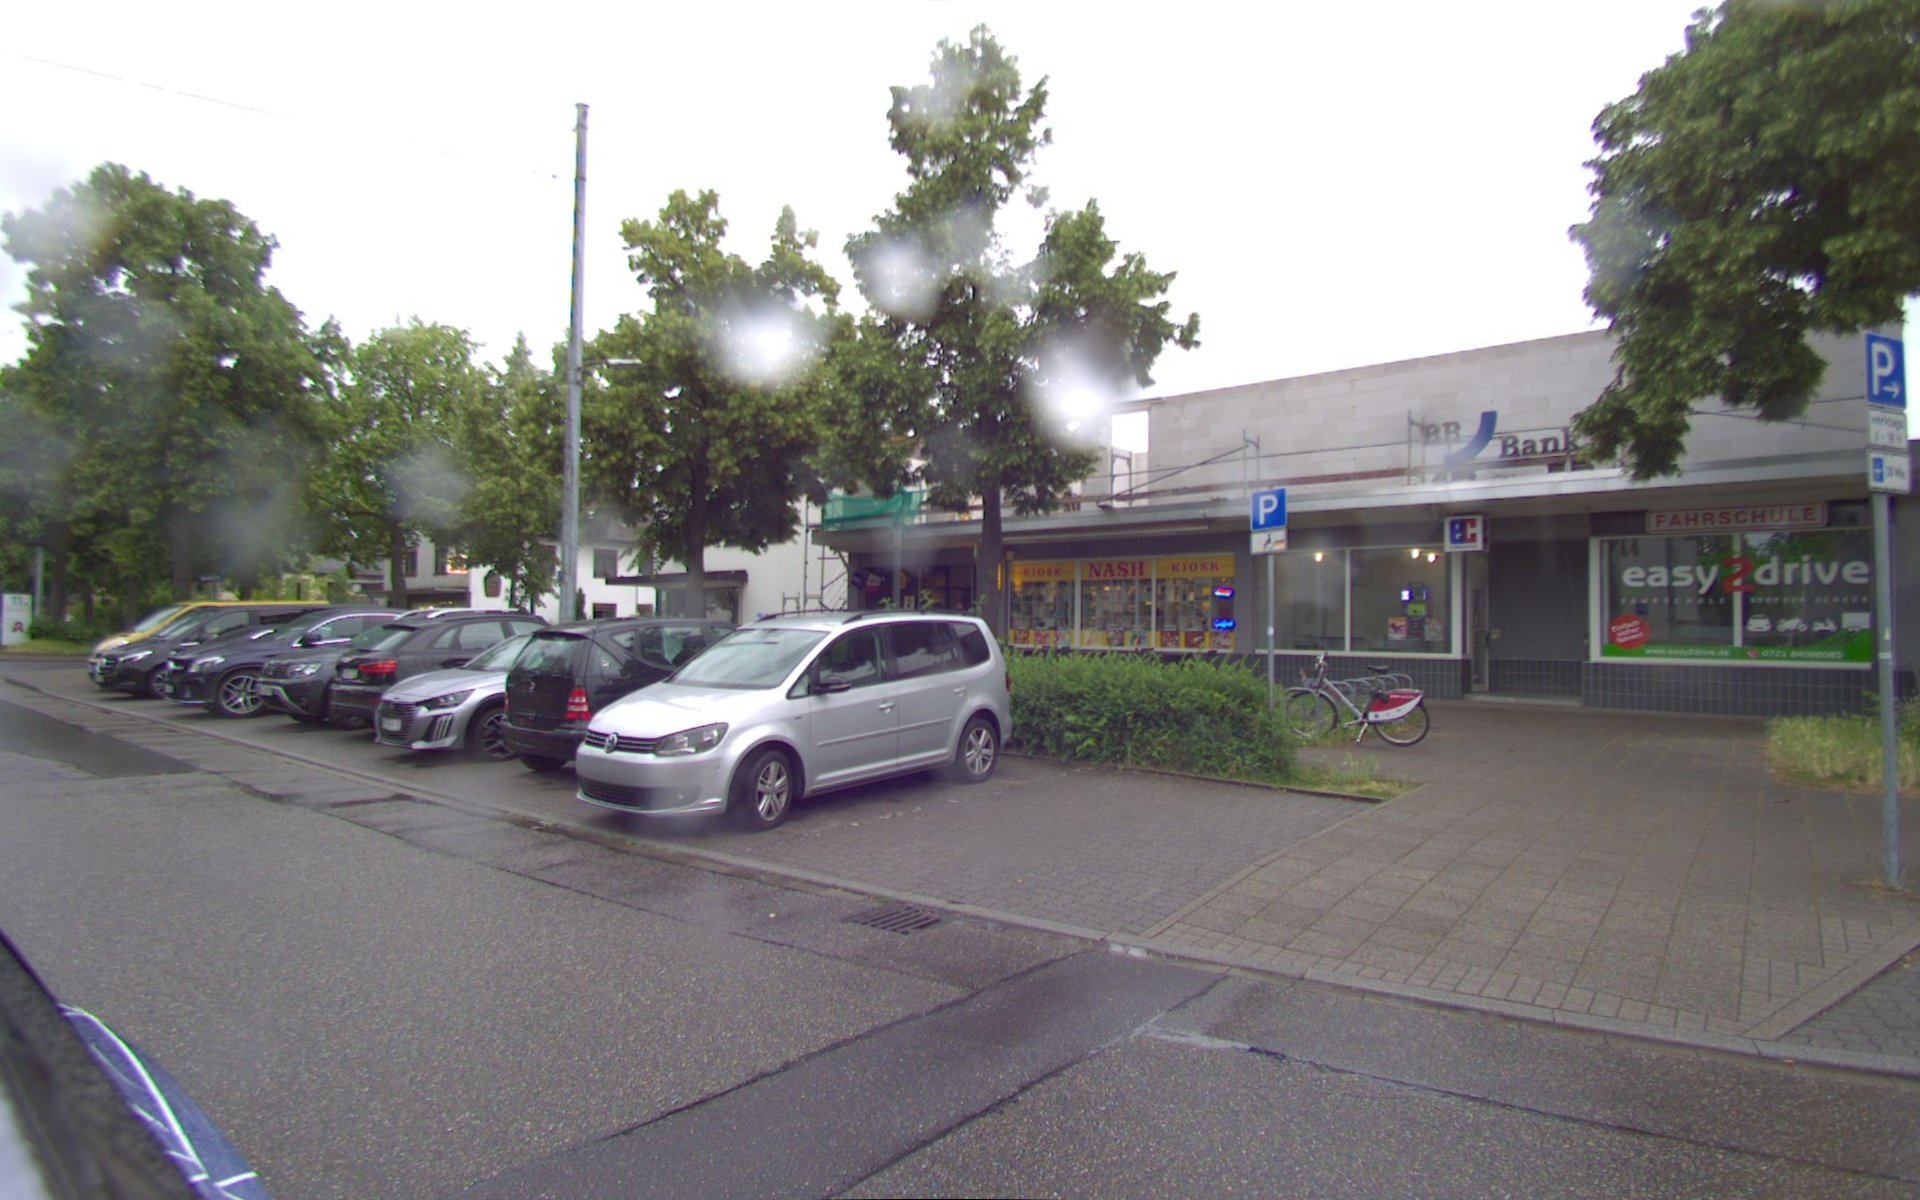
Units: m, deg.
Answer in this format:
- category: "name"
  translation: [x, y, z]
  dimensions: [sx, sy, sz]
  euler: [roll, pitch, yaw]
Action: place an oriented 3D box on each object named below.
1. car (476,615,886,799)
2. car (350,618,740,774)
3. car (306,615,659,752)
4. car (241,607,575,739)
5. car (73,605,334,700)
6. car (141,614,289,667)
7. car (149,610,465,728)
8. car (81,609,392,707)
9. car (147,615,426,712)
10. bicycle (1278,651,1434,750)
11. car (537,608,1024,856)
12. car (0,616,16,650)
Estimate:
- category: "car"
  translation: [-2.841, 0.978, 11.143]
  dimensions: [1.633, 1.577, 4.231]
  euler: [-1, 0, 38]
- category: "car"
  translation: [-4.948, 1.025, 12.610]
  dimensions: [1.713, 1.544, 4.231]
  euler: [-1, -1, 38]
- category: "car"
  translation: [-6.571, 1.031, 14.348]
  dimensions: [1.713, 1.607, 4.231]
  euler: [-1, -1, 38]
- category: "car"
  translation: [-8.343, 0.988, 15.644]
  dimensions: [1.713, 1.740, 4.231]
  euler: [-1, -1, 38]
- category: "car"
  translation: [-17.444, 1.114, 23.569]
  dimensions: [1.713, 1.973, 4.600]
  euler: [-1, -1, 38]
- category: "car"
  translation: [-26.253, 1.383, 35.746]
  dimensions: [1.841, 1.700, 3.943]
  euler: [-1, 0, 43]
- category: "car"
  translation: [-10.976, 1.052, 17.291]
  dimensions: [1.713, 1.740, 4.231]
  euler: [-1, -1, 38]
- category: "car"
  translation: [-15.147, 1.120, 21.510]
  dimensions: [1.713, 1.813, 5.114]
  euler: [-1, -1, 38]
- category: "car"
  translation: [-12.988, 1.140, 19.746]
  dimensions: [1.713, 1.639, 4.231]
  euler: [-1, -1, 38]
- category: "bicycle"
  translation: [4.808, 1.200, 12.344]
  dimensions: [1.739, 1.115, 0.316]
  euler: [-1, 0, 25]
- category: "car"
  translation: [-1.322, 0.909, 9.000]
  dimensions: [1.713, 1.647, 4.231]
  euler: [-1, -1, 38]
- category: "car"
  translation: [-49.756, 1.661, 50.270]
  dimensions: [1.997, 1.698, 3.950]
  euler: [-1, 0, 37]
